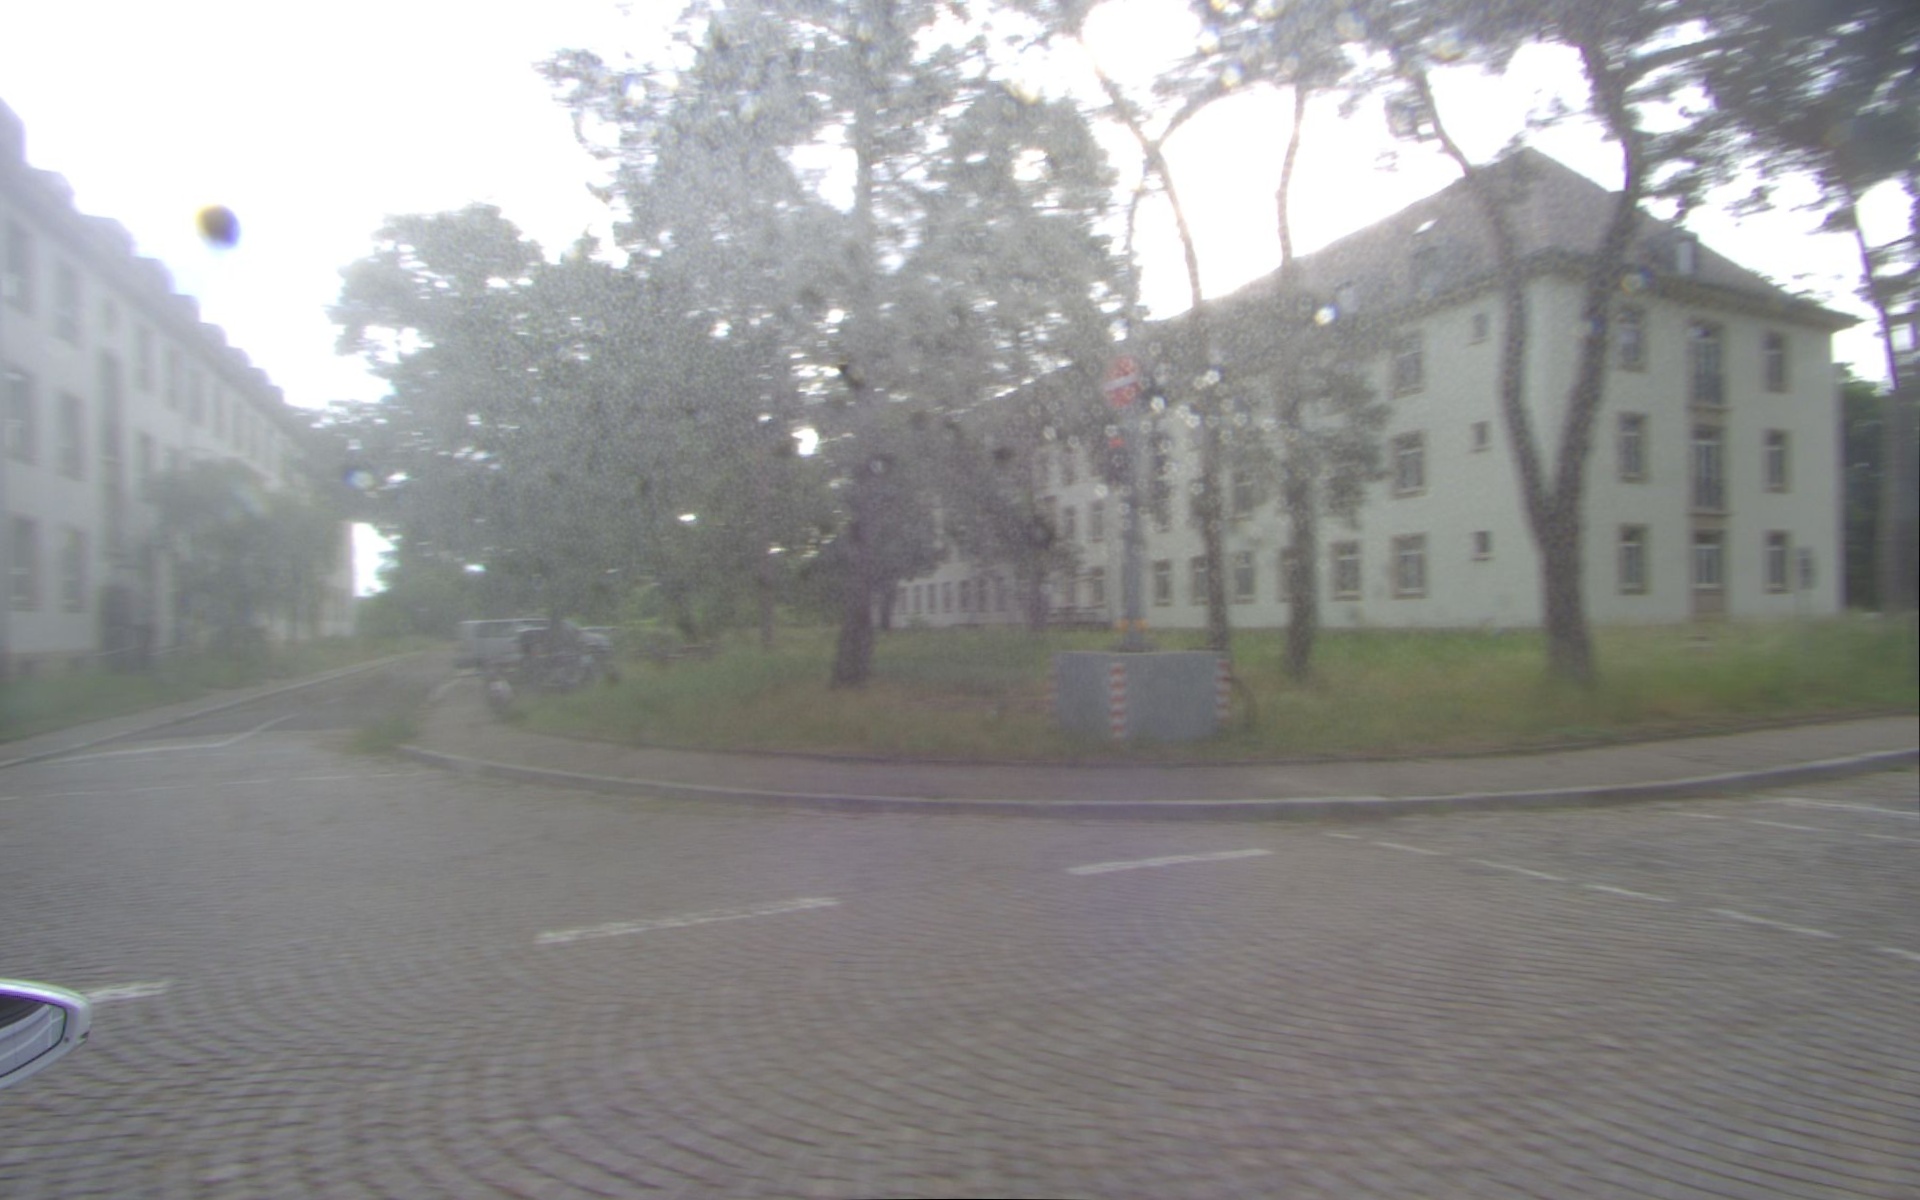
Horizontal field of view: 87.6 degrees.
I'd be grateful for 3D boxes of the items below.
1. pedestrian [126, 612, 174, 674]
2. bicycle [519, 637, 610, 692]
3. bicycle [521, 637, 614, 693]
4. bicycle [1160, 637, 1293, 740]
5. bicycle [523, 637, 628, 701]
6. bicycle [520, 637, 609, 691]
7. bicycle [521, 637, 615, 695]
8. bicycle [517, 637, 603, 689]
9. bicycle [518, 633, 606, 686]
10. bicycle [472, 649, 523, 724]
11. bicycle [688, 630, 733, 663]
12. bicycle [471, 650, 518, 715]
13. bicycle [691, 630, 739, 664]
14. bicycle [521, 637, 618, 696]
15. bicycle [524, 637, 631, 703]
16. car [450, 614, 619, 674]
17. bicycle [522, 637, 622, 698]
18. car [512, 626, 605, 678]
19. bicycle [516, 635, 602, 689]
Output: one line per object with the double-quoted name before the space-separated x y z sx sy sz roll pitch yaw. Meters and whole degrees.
"pedestrian" -24.229 1.267 29.963 0.825 1.804 0.939 0 -1 -19
"bicycle" -9.325 1.510 23.633 1.958 1.263 0.622 1 -1 -26
"bicycle" -9.127 1.498 23.303 1.958 1.263 0.622 1 -1 -26
"bicycle" 2.959 0.952 11.284 0.572 0.983 1.673 -2 1 -20
"bicycle" -7.913 1.401 20.632 1.958 1.263 0.622 1 -1 -26
"bicycle" -9.588 1.533 24.273 1.958 1.263 0.622 1 -1 -26
"bicycle" -8.923 1.480 22.820 1.958 1.263 0.622 1 -1 -26
"bicycle" -10.041 1.566 25.169 1.958 1.263 0.622 1 -1 -26
"bicycle" -9.821 1.454 24.730 1.958 1.263 0.622 1 -1 -26
"bicycle" -7.556 1.379 16.412 0.614 1.127 1.984 0 -2 -21
"bicycle" -8.889 1.644 35.687 1.528 1.139 0.400 0 -1 -23
"bicycle" -8.425 1.458 18.155 0.614 1.096 1.674 0 -2 -20
"bicycle" -8.449 1.606 34.539 1.528 1.139 0.400 0 -1 -23
"bicycle" -8.666 1.460 22.244 1.958 1.263 0.622 1 -1 -26
"bicycle" -7.653 1.380 20.062 1.958 1.263 0.622 1 -1 -26
"car" -15.396 1.551 36.358 5.260 1.941 2.133 -1 -1 -39
"bicycle" -8.310 1.431 21.466 1.958 1.263 0.622 1 -1 -26
"car" -13.411 1.702 33.452 2.811 1.579 1.466 -1 1 -25
"bicycle" -10.315 1.587 25.767 1.958 1.264 0.622 -2 0 -26
